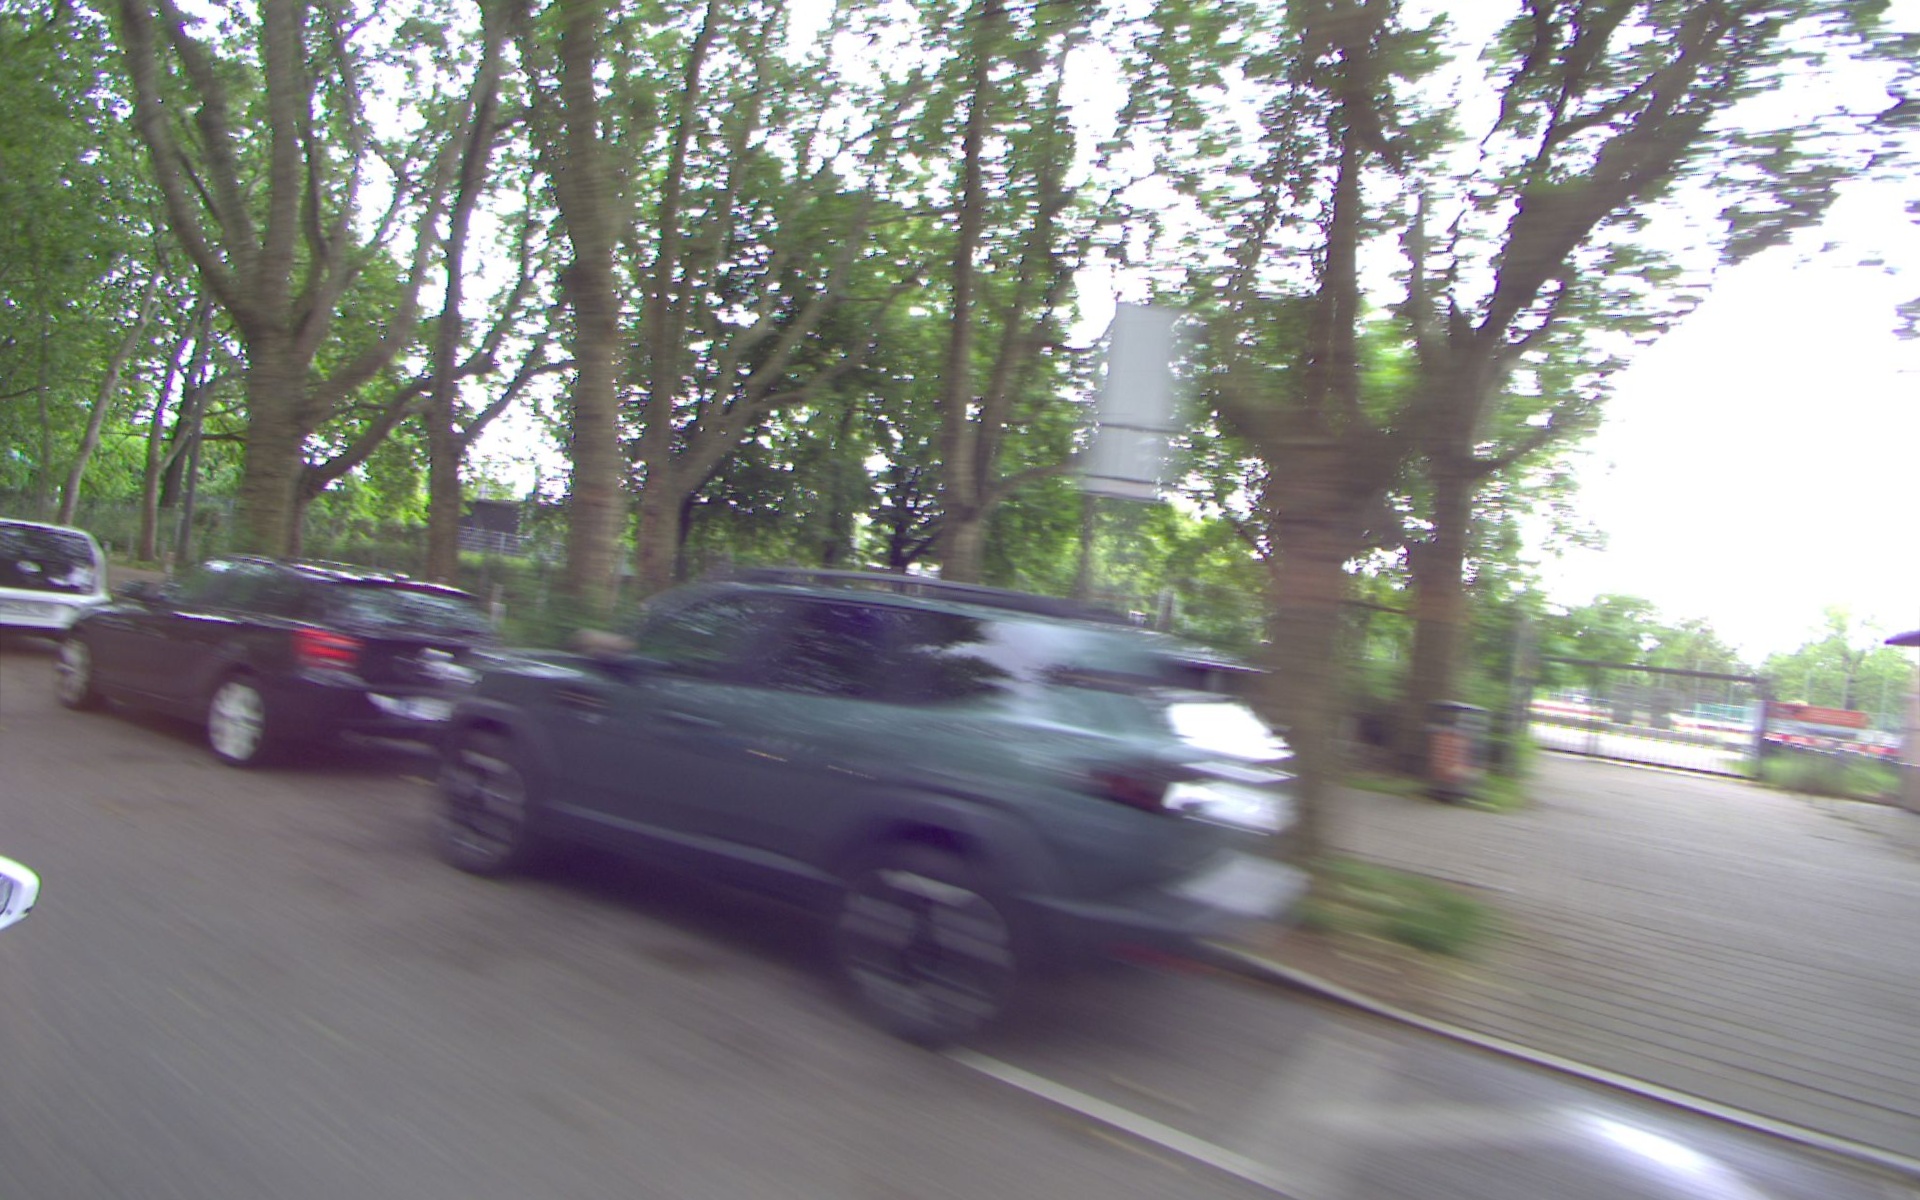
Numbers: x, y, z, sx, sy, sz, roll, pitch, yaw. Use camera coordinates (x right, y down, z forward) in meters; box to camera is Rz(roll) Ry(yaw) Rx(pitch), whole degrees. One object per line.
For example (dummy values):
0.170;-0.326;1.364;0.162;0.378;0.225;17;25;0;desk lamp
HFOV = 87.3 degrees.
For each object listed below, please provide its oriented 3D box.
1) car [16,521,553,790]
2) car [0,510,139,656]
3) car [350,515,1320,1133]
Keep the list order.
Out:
-5.480;0.342;8.040;4.287;1.432;1.712;6;-2;30;car
-11.439;-0.344;11.661;3.825;1.443;1.711;6;-3;32;car
-0.813;0.691;5.037;4.553;1.717;1.712;6;-3;30;car
